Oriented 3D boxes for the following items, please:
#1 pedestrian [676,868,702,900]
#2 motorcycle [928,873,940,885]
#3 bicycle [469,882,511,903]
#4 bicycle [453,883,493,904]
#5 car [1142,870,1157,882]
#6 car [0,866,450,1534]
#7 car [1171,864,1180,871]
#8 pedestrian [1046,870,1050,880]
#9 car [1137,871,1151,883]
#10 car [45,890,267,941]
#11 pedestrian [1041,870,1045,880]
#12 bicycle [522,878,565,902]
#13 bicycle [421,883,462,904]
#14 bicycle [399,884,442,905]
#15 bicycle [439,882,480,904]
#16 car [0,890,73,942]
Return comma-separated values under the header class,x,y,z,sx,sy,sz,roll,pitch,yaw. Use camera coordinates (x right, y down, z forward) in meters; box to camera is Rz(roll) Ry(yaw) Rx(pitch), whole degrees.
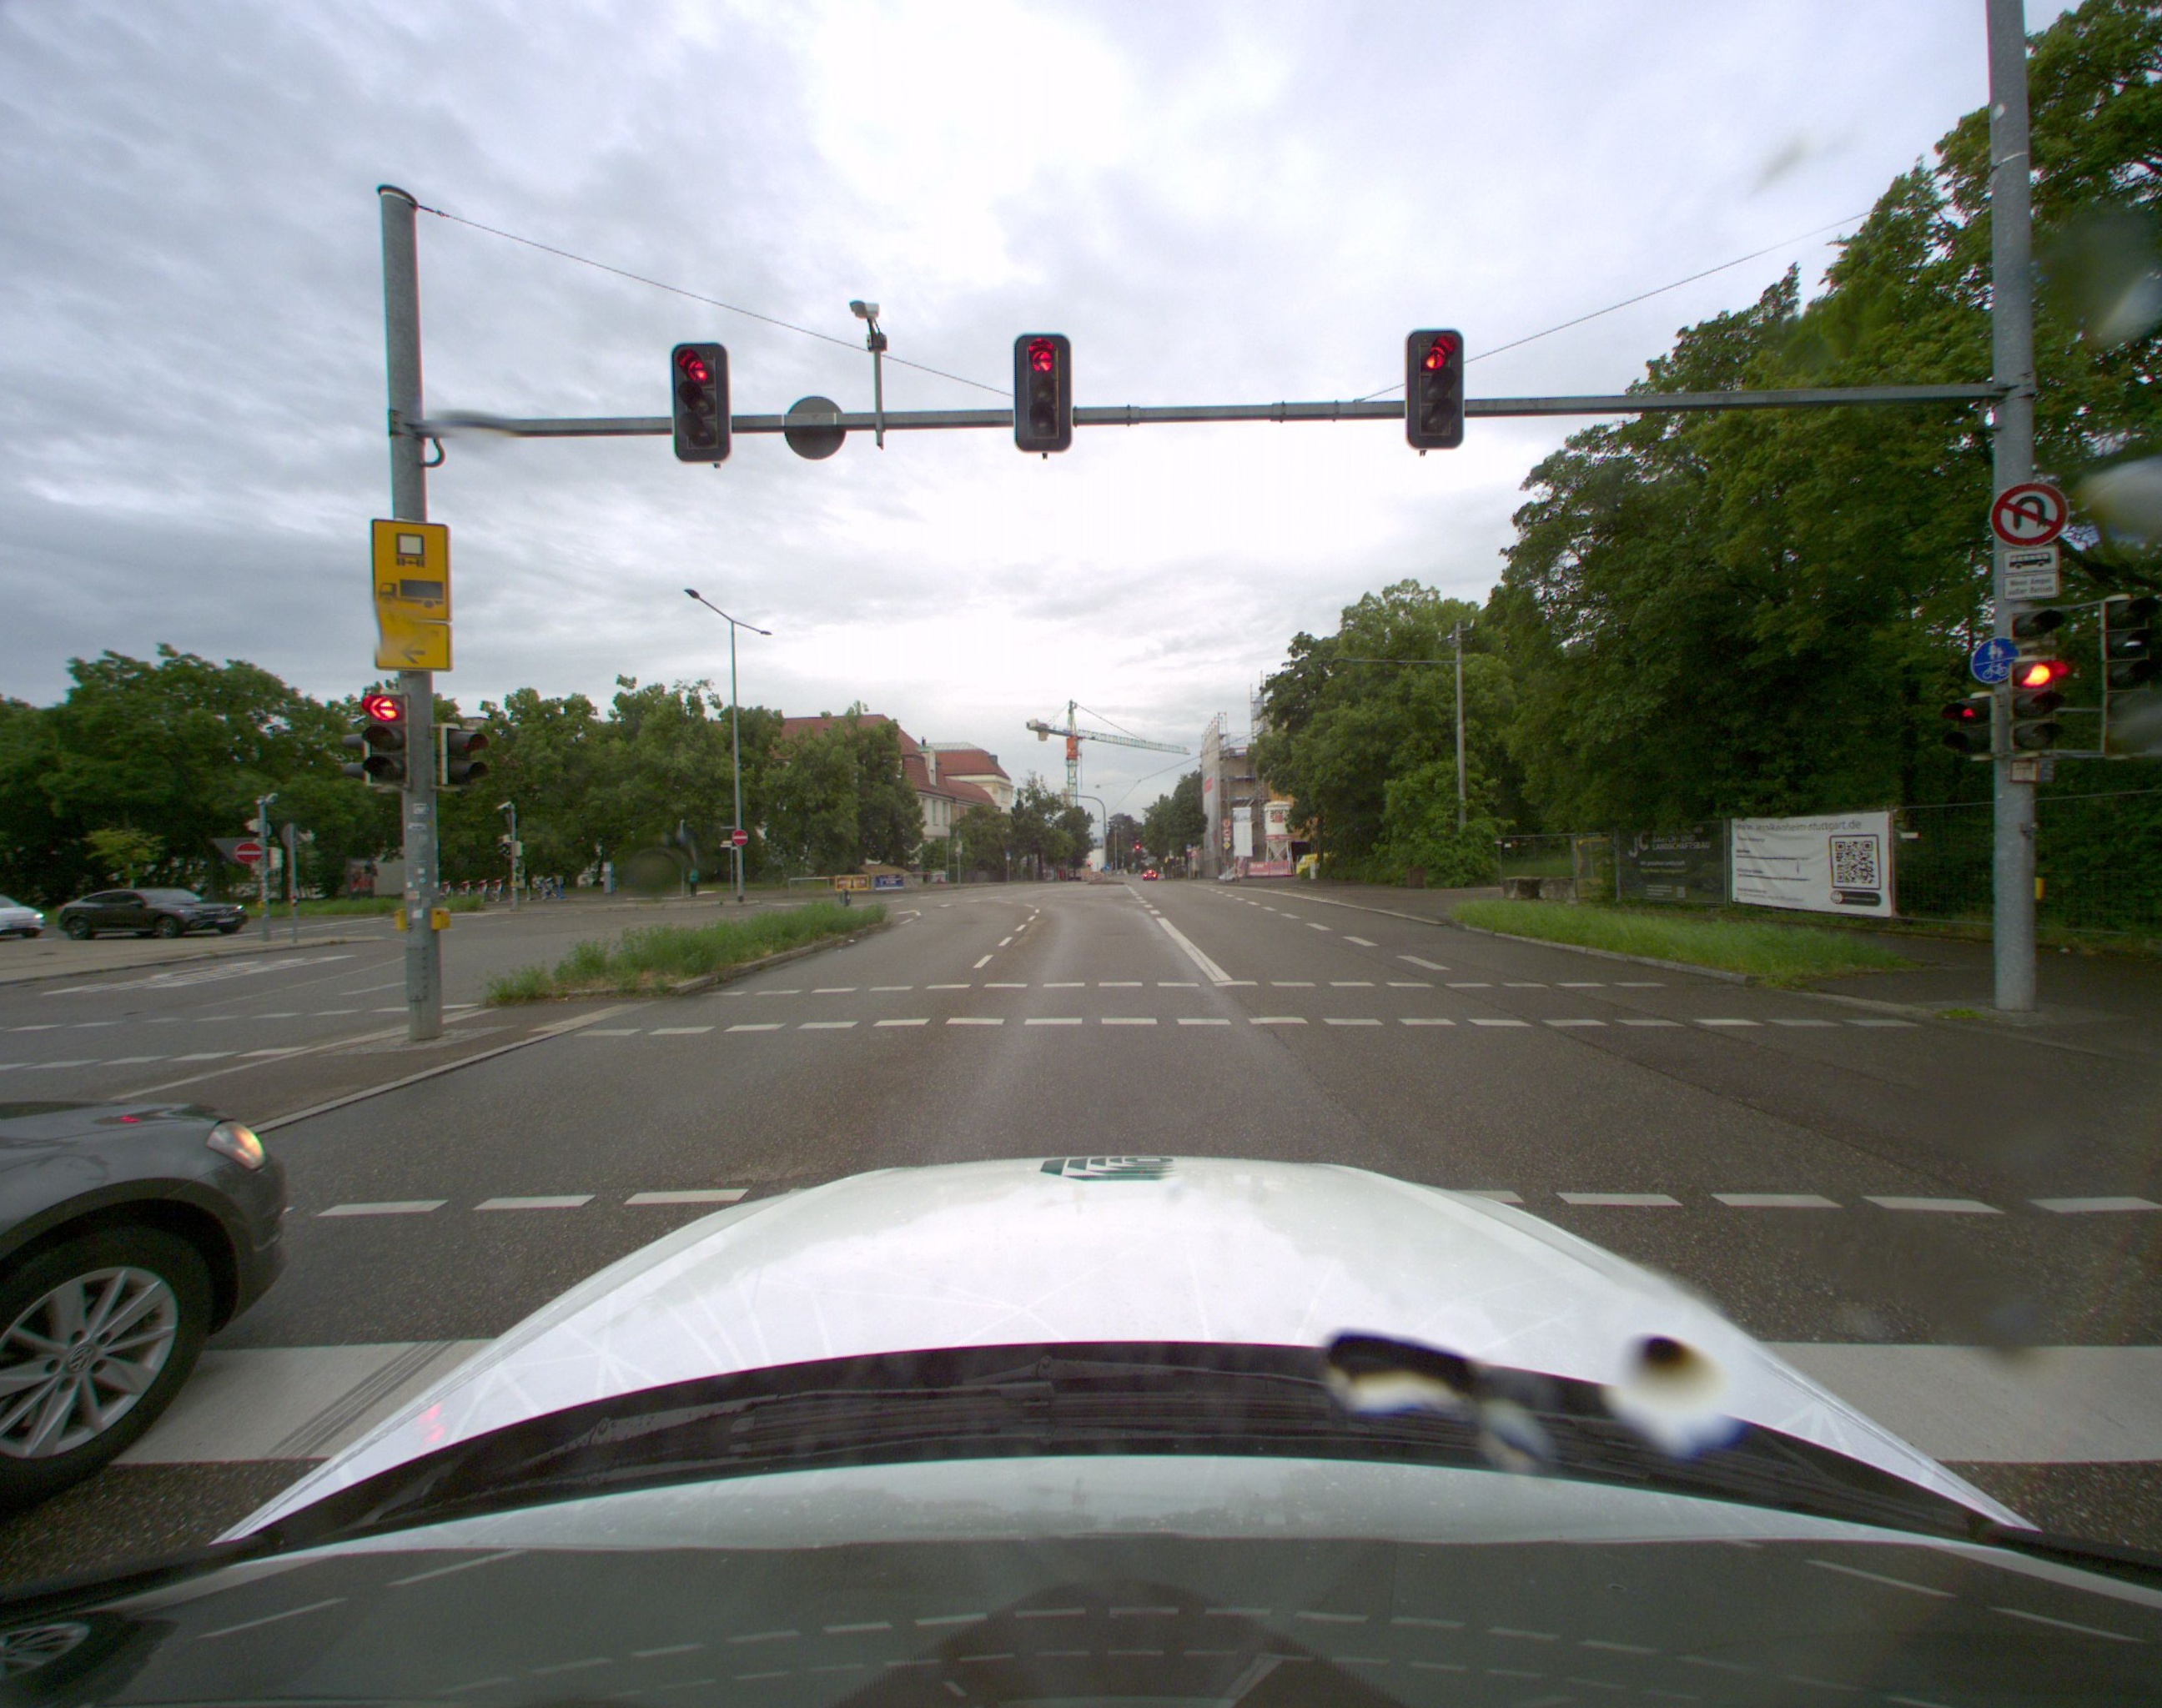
class,x,y,z,sx,sy,sz,roll,pitch,yaw
pedestrian,-21.615,1.633,44.907,0.918,1.727,0.947,0,-1,5
motorcycle,-11.776,2.006,65.242,0.846,0.877,0.877,0,-1,1
bicycle,-32.269,2.069,44.516,0.798,1.071,1.982,0,-1,2
bicycle,-33.019,2.121,44.285,0.649,1.071,1.982,0,-1,2
car,10.483,3.383,124.769,1.986,1.750,4.001,-2,0,1
car,-3.374,0.804,0.900,1.809,1.481,4.378,-2,0,2
car,25.441,3.510,218.964,1.980,1.750,4.014,-2,0,13
pedestrian,-4.548,2.866,113.168,0.473,1.396,0.411,-2,-1,1
car,10.207,3.664,131.344,1.986,1.750,4.001,-2,0,1
car,-30.075,1.987,26.596,5.006,1.500,2.001,0,-1,1
pedestrian,-5.327,2.976,113.435,0.473,1.396,0.411,-2,-1,1
bicycle,-29.436,1.957,44.625,0.987,1.249,1.982,0,-1,2
bicycle,-34.987,2.145,44.590,0.649,1.071,1.982,0,-1,2
bicycle,-35.964,2.180,44.375,0.649,1.071,1.982,0,-1,2
bicycle,-33.908,2.117,44.459,0.649,1.071,1.982,0,-1,2
car,-36.496,2.039,27.060,3.539,1.594,2.001,0,-1,1
